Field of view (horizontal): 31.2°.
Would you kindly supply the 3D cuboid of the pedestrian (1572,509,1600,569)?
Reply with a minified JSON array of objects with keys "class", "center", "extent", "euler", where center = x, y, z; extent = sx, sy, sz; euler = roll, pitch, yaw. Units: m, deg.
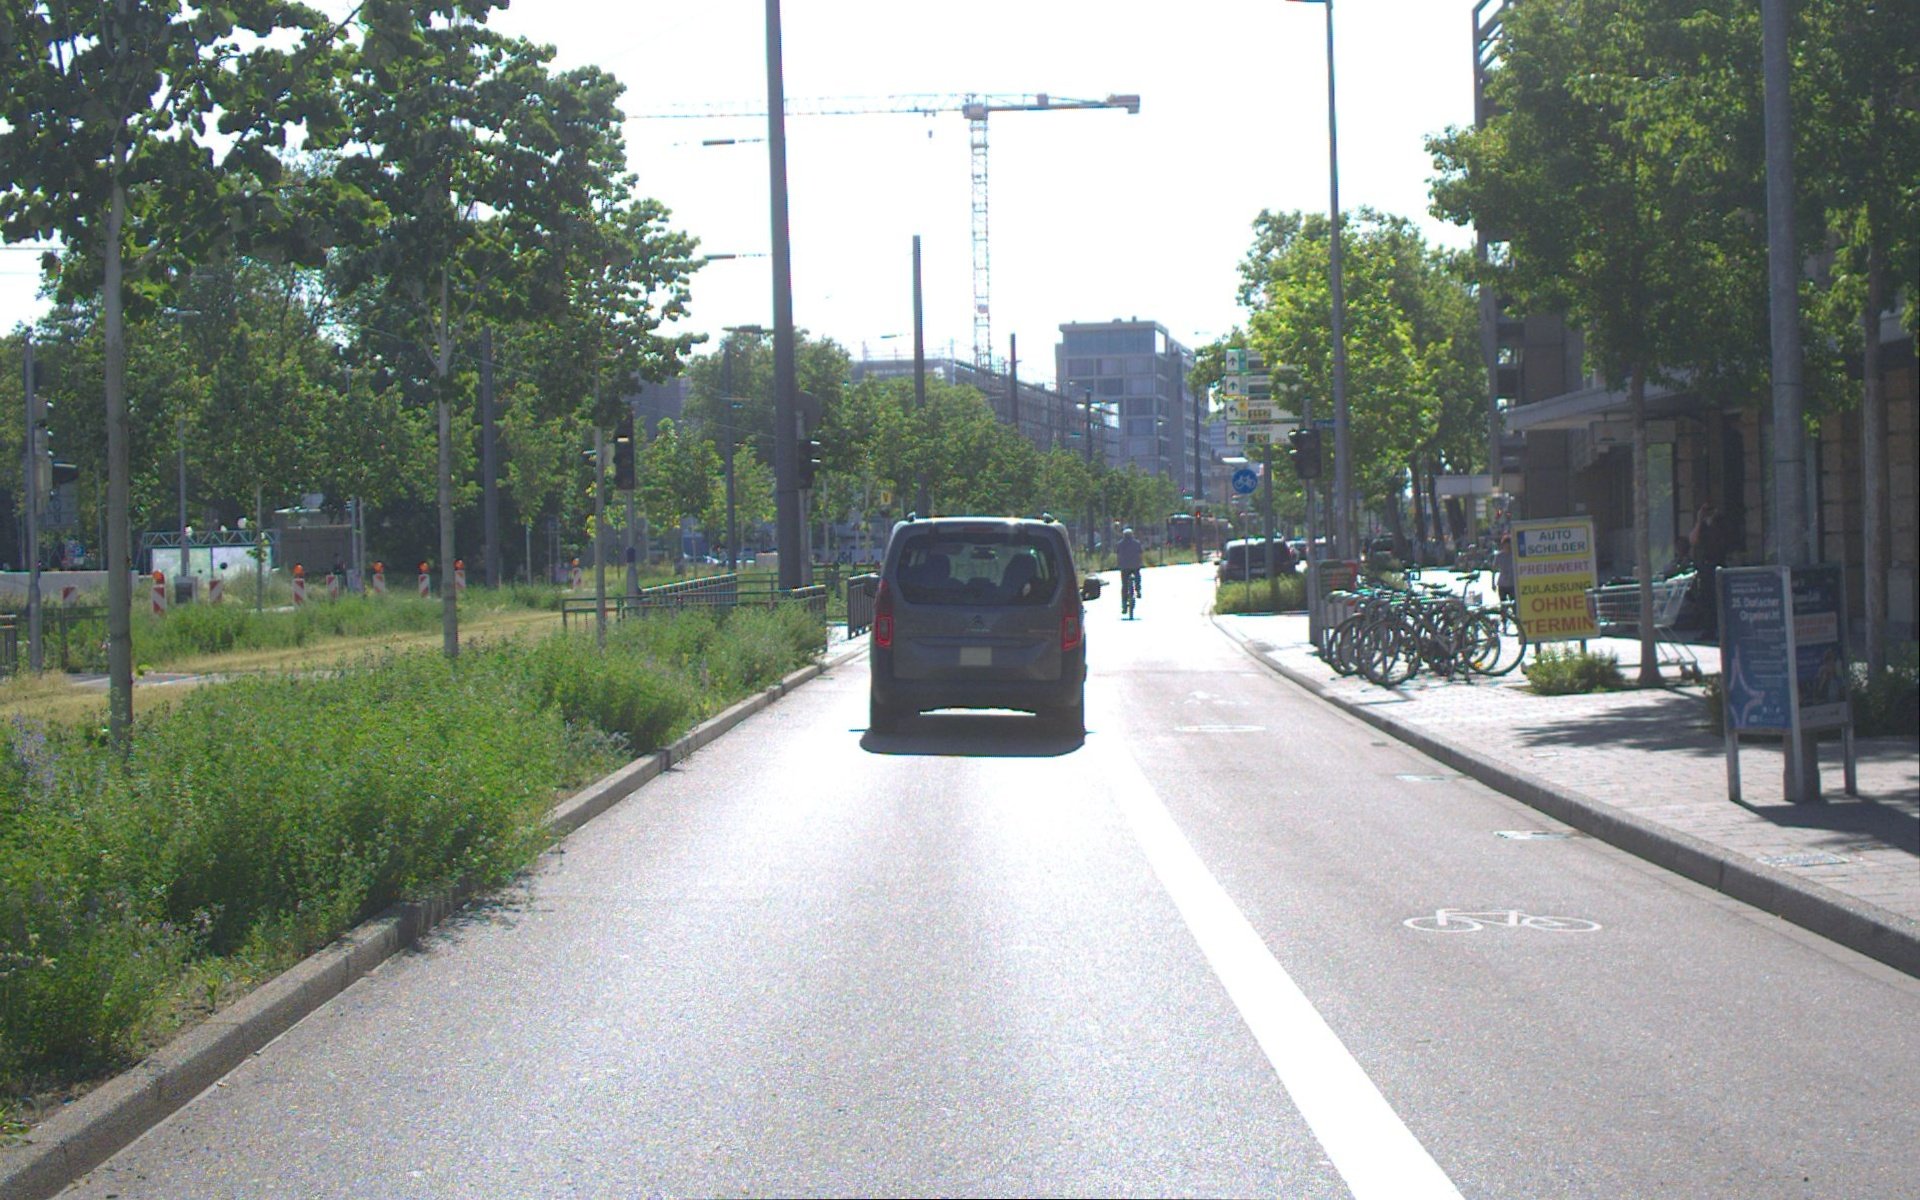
[{"class":"pedestrian","center":[17.371,-1.701,95.433],"extent":[0.700,1.647,0.724],"euler":[-1,1,8]}]

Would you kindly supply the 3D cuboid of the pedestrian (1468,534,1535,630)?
[{"class":"pedestrian","center":[7.860,-0.263,49.923],"extent":[0.703,1.331,1.011],"euler":[-5,0,1]}]

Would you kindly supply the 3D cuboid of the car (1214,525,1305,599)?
[{"class":"car","center":[6.761,-0.847,77.823],"extent":[1.989,1.632,4.189],"euler":[0,0,4]}]

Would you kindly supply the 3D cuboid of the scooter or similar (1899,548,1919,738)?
[{"class":"scooter or similar","center":[6.878,0.240,22.058],"extent":[1.473,1.212,0.602],"euler":[-3,2,-4]}]

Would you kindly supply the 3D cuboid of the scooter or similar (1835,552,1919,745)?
[{"class":"scooter or similar","center":[6.659,0.284,22.821],"extent":[1.473,1.212,0.602],"euler":[-4,2,-11]}]

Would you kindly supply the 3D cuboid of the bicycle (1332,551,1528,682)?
[{"class":"bicycle","center":[4.872,0.165,35.646],"extent":[1.878,1.229,0.500],"euler":[-4,0,-6]}]

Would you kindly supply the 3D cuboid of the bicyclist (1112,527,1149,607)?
[{"class":"bicyclist","center":[3.430,-0.671,69.189],"extent":[0.683,1.579,0.840],"euler":[-1,1,-1]}]

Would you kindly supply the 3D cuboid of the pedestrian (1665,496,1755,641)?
[{"class":"pedestrian","center":[9.210,-0.384,42.239],"extent":[0.844,1.736,0.886],"euler":[-2,0,0]}]

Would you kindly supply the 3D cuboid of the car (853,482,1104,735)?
[{"class":"car","center":[0.104,0.058,29.467],"extent":[1.993,2.007,4.000],"euler":[0,0,-1]}]

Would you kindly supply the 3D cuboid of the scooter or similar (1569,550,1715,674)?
[{"class":"scooter or similar","center":[6.497,0.107,32.799],"extent":[1.220,1.102,0.783],"euler":[-3,1,2]}]

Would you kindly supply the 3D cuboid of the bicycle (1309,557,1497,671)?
[{"class":"bicycle","center":[4.984,0.156,38.698],"extent":[1.915,1.117,0.665],"euler":[-5,1,-6]}]

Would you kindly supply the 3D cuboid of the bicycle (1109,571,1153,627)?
[{"class":"bicycle","center":[3.434,-0.031,69.208],"extent":[0.701,1.087,2.277],"euler":[-1,1,-1]}]

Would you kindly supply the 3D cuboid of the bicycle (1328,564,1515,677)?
[{"class":"bicycle","center":[4.987,0.219,37.182],"extent":[1.824,1.075,0.665],"euler":[-4,1,-6]}]

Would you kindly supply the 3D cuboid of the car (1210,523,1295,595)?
[{"class":"car","center":[7.138,-0.995,84.141],"extent":[2.022,1.716,4.118],"euler":[0,0,5]}]
